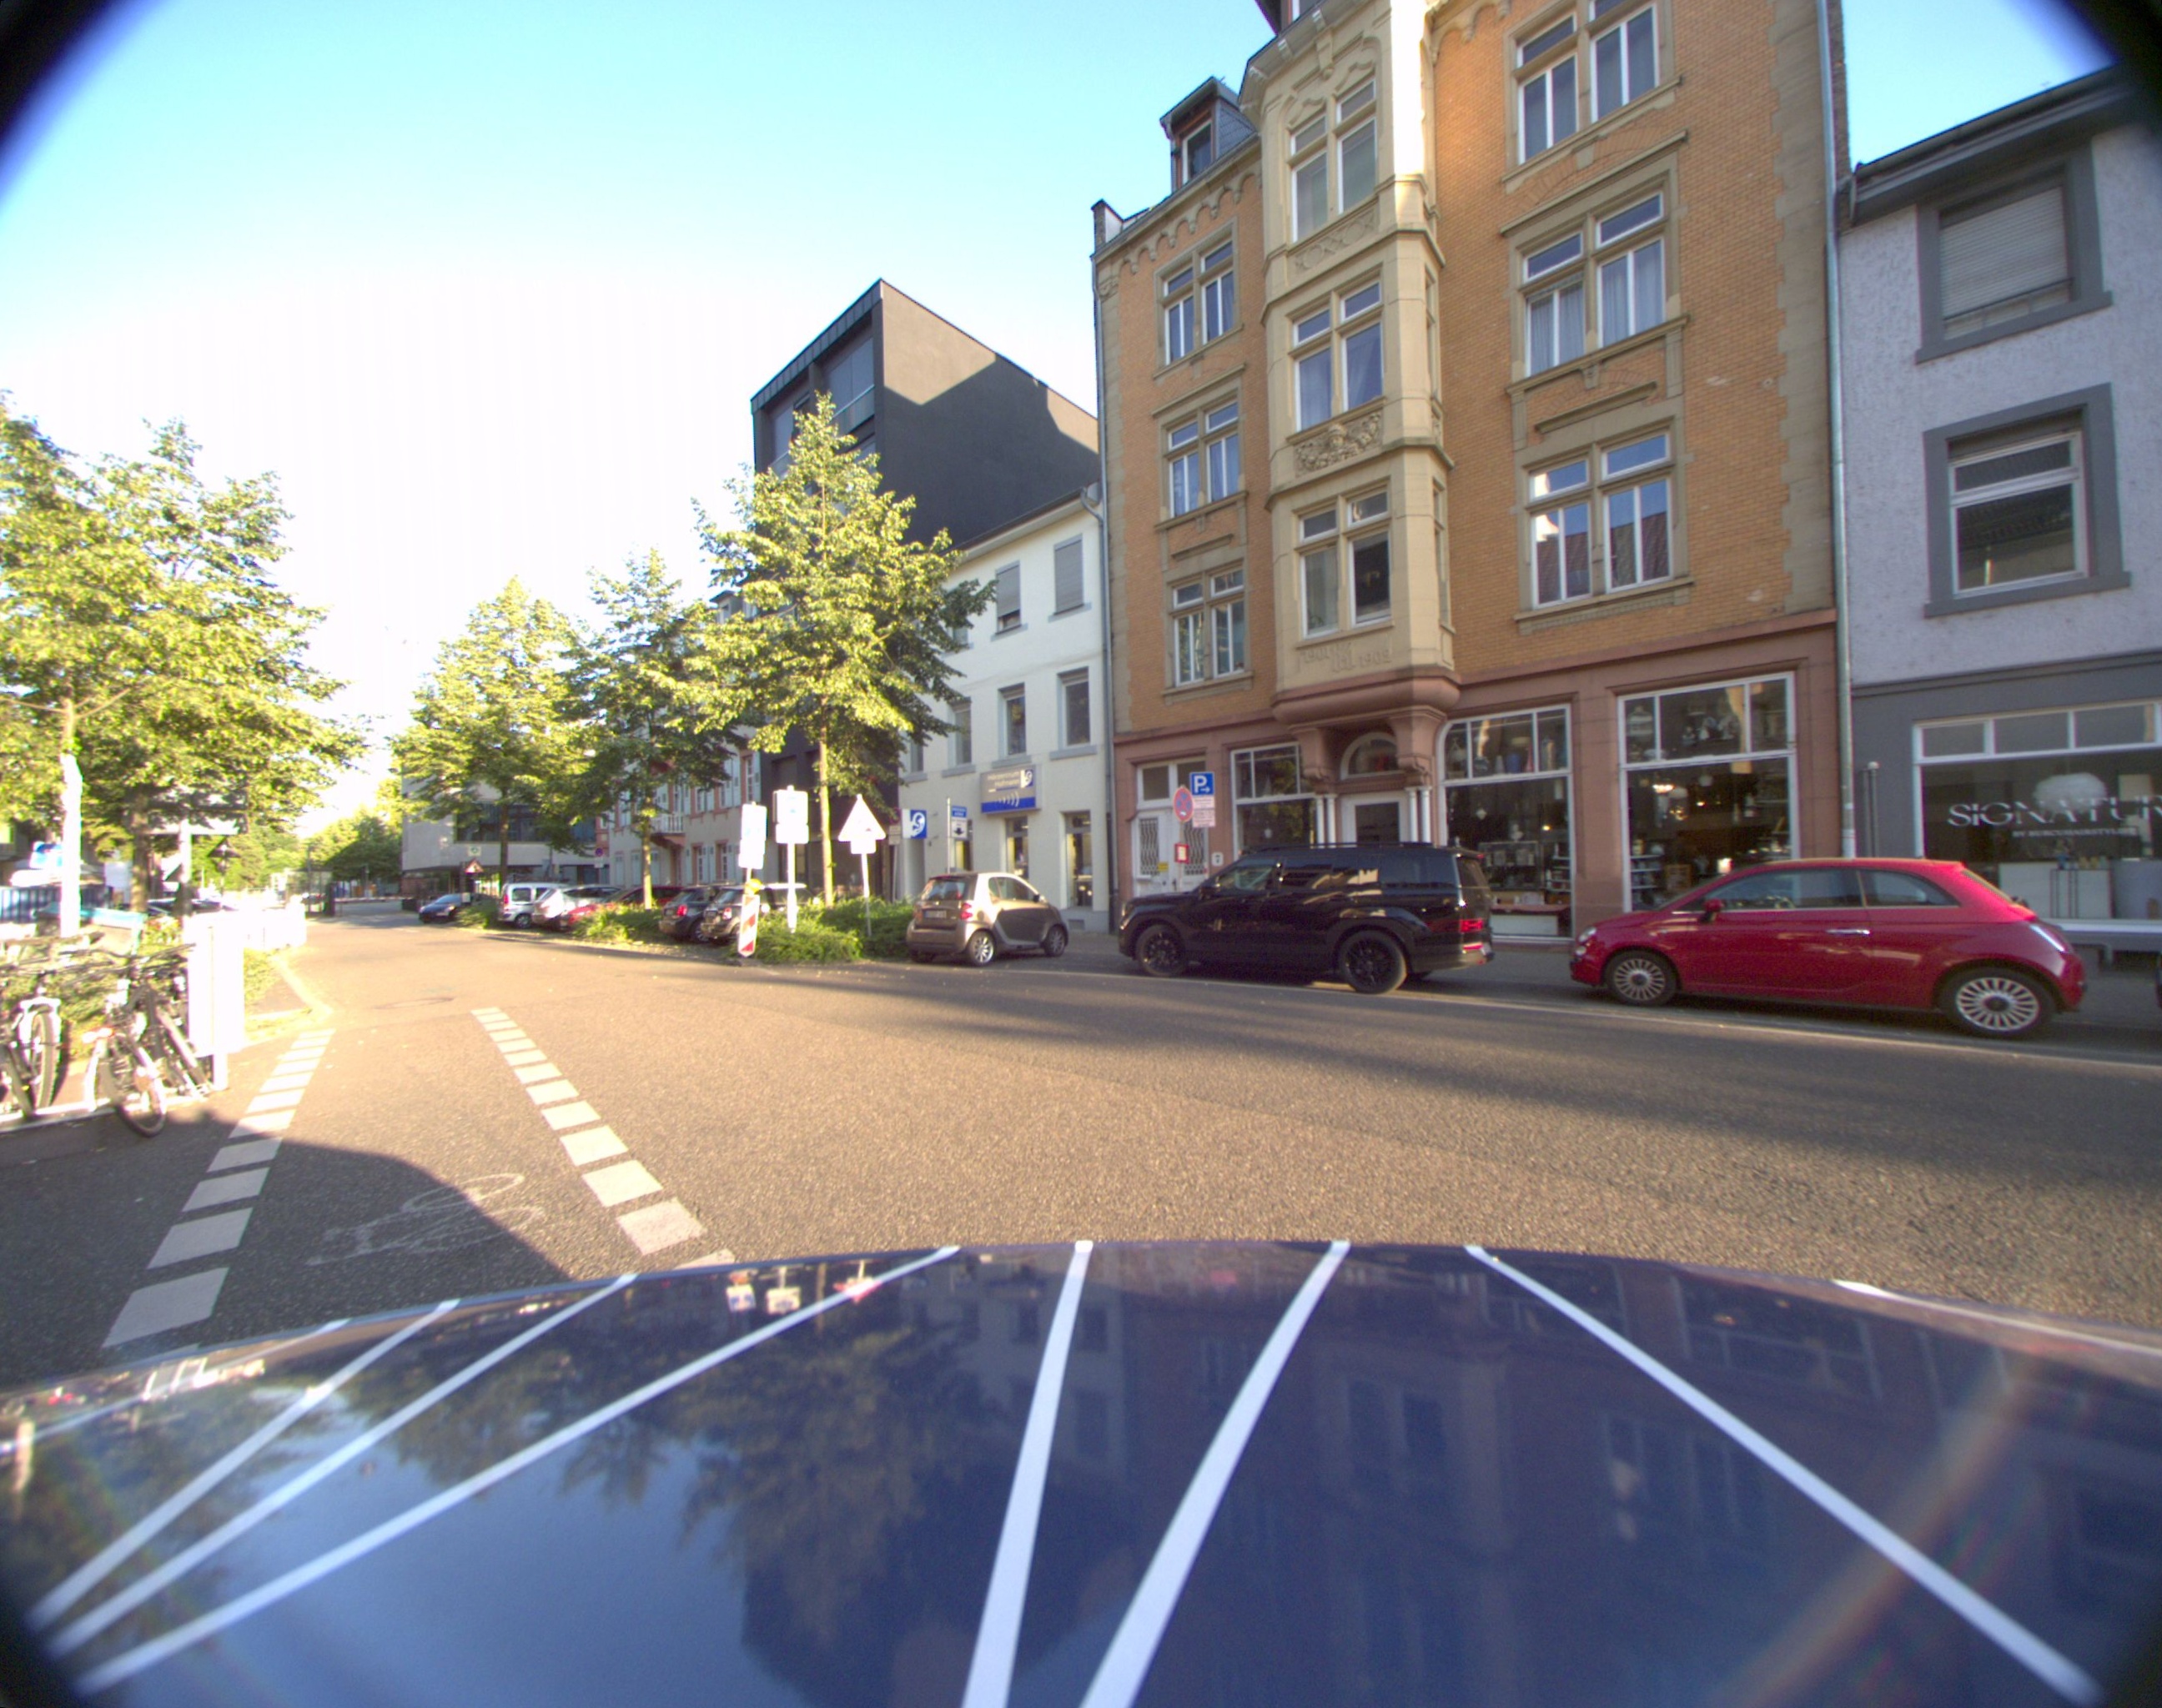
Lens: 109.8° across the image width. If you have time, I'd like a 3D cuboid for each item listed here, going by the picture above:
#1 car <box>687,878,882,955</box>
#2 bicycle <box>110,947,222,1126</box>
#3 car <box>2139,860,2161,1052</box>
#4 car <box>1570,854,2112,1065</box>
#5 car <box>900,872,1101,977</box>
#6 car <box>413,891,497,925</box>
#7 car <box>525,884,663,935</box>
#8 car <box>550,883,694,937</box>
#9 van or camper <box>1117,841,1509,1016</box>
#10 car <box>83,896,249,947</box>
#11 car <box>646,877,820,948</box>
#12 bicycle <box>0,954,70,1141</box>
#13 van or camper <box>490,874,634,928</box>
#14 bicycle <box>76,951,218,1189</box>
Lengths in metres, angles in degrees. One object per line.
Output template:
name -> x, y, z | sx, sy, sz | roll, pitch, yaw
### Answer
car -> -7.082, 1.424, 18.451 | 1.853, 1.659, 4.018 | -2, -3, 40
bicycle -> -7.393, 1.400, 6.181 | 1.548, 1.171, 0.510 | -2, -1, 42
car -> 9.896, 0.753, 4.507 | 3.924, 1.563, 1.671 | -3, -3, 42
car -> 6.928, 0.847, 7.381 | 3.412, 1.560, 1.534 | -2, -2, 43
car -> -1.333, 1.151, 13.625 | 1.503, 1.566, 3.489 | -2, -1, 40
car -> -31.105, 2.666, 37.886 | 1.859, 1.558, 3.694 | 0, -2, -15
car -> -17.197, 1.894, 26.945 | 1.853, 1.659, 3.706 | -2, -3, 40
car -> -15.210, 1.802, 25.312 | 1.853, 1.659, 3.706 | -2, -3, 40
van or camper -> 2.868, 0.839, 9.876 | 4.448, 1.796, 1.900 | -2, -2, 36
car -> -35.626, 2.576, 29.781 | 1.886, 1.673, 4.009 | -2, -2, 44
car -> -9.033, 1.454, 19.947 | 1.853, 1.659, 3.706 | -2, -3, 40
bicycle -> -7.936, 1.377, 5.564 | 1.548, 1.156, 0.490 | -2, -1, 42
van or camper -> -20.811, 1.839, 30.626 | 1.853, 1.993, 4.465 | -2, -3, 40
bicycle -> -6.080, 1.311, 4.998 | 1.548, 1.213, 0.500 | -2, -1, 42
